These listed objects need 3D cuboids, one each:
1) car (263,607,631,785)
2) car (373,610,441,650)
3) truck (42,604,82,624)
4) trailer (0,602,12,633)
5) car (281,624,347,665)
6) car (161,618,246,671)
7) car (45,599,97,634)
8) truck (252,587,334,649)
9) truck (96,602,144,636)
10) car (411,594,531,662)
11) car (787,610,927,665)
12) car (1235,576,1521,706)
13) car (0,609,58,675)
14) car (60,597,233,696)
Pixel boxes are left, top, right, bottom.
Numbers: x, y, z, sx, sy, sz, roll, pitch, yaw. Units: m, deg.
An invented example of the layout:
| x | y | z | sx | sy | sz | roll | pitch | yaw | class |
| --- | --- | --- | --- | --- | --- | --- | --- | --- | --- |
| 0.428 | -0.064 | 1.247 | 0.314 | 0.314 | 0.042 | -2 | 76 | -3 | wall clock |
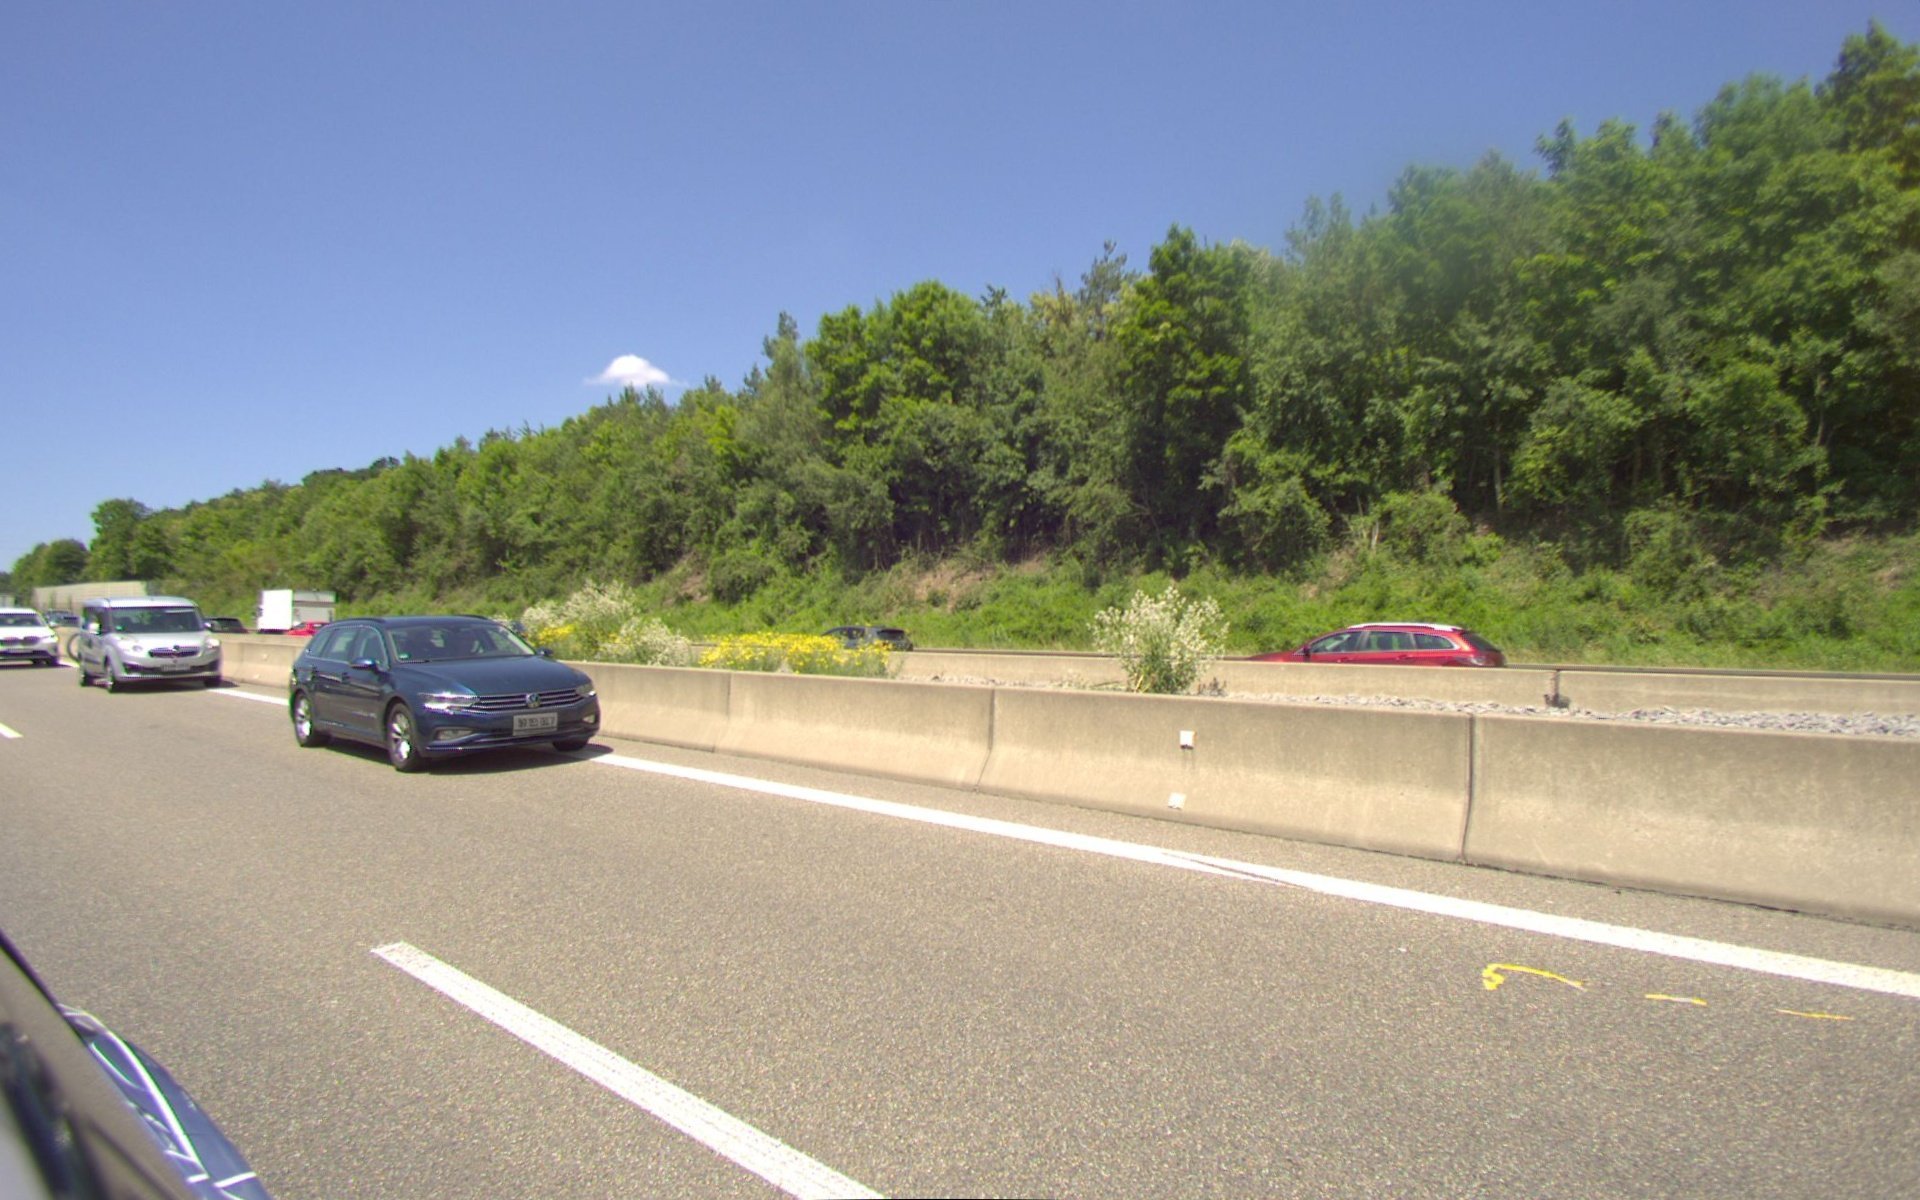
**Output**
| x | y | z | sx | sy | sz | roll | pitch | yaw | class |
| --- | --- | --- | --- | --- | --- | --- | --- | --- | --- |
| -5.558 | 0.817 | 10.669 | 4.675 | 1.461 | 1.855 | 0 | 0 | 41 | car |
| -30.357 | 1.611 | 55.535 | 3.997 | 2.029 | 1.973 | 0 | 0 | 40 | car |
| -96.973 | 1.497 | 109.283 | 6.487 | 2.029 | 2.327 | 0 | 0 | 40 | truck |
| -142.058 | 2.532 | 148.676 | 10.811 | 4.515 | 2.919 | 0 | 0 | 41 | trailer |
| -35.152 | 2.396 | 55.046 | 3.997 | 2.029 | 1.973 | 0 | 0 | 40 | car |
| -29.810 | 1.694 | 39.839 | 3.998 | 1.896 | 1.887 | 0 | 0 | 41 | car |
| -55.011 | 0.986 | 62.600 | 3.999 | 2.029 | 1.972 | 0 | 0 | 42 | car |
| -45.348 | 1.152 | 68.712 | 7.986 | 4.019 | 2.664 | 0 | 0 | 41 | truck |
| -75.232 | 1.657 | 90.604 | 6.738 | 2.906 | 2.155 | 0 | 0 | 40 | truck |
| -15.556 | 0.819 | 32.154 | 3.997 | 2.029 | 1.974 | 0 | 0 | 40 | car |
| -3.084 | 1.057 | 30.008 | 3.999 | 1.458 | 1.972 | 0 | 0 | 42 | car |
| 7.275 | 0.627 | 17.860 | 4.281 | 2.029 | 1.972 | 0 | 0 | 42 | car |
| -27.162 | 1.154 | 28.767 | 3.998 | 1.719 | 1.800 | 0 | 0 | 41 | car |
| -16.612 | 0.841 | 20.569 | 4.914 | 1.786 | 1.834 | 0 | 0 | 40 | car |
